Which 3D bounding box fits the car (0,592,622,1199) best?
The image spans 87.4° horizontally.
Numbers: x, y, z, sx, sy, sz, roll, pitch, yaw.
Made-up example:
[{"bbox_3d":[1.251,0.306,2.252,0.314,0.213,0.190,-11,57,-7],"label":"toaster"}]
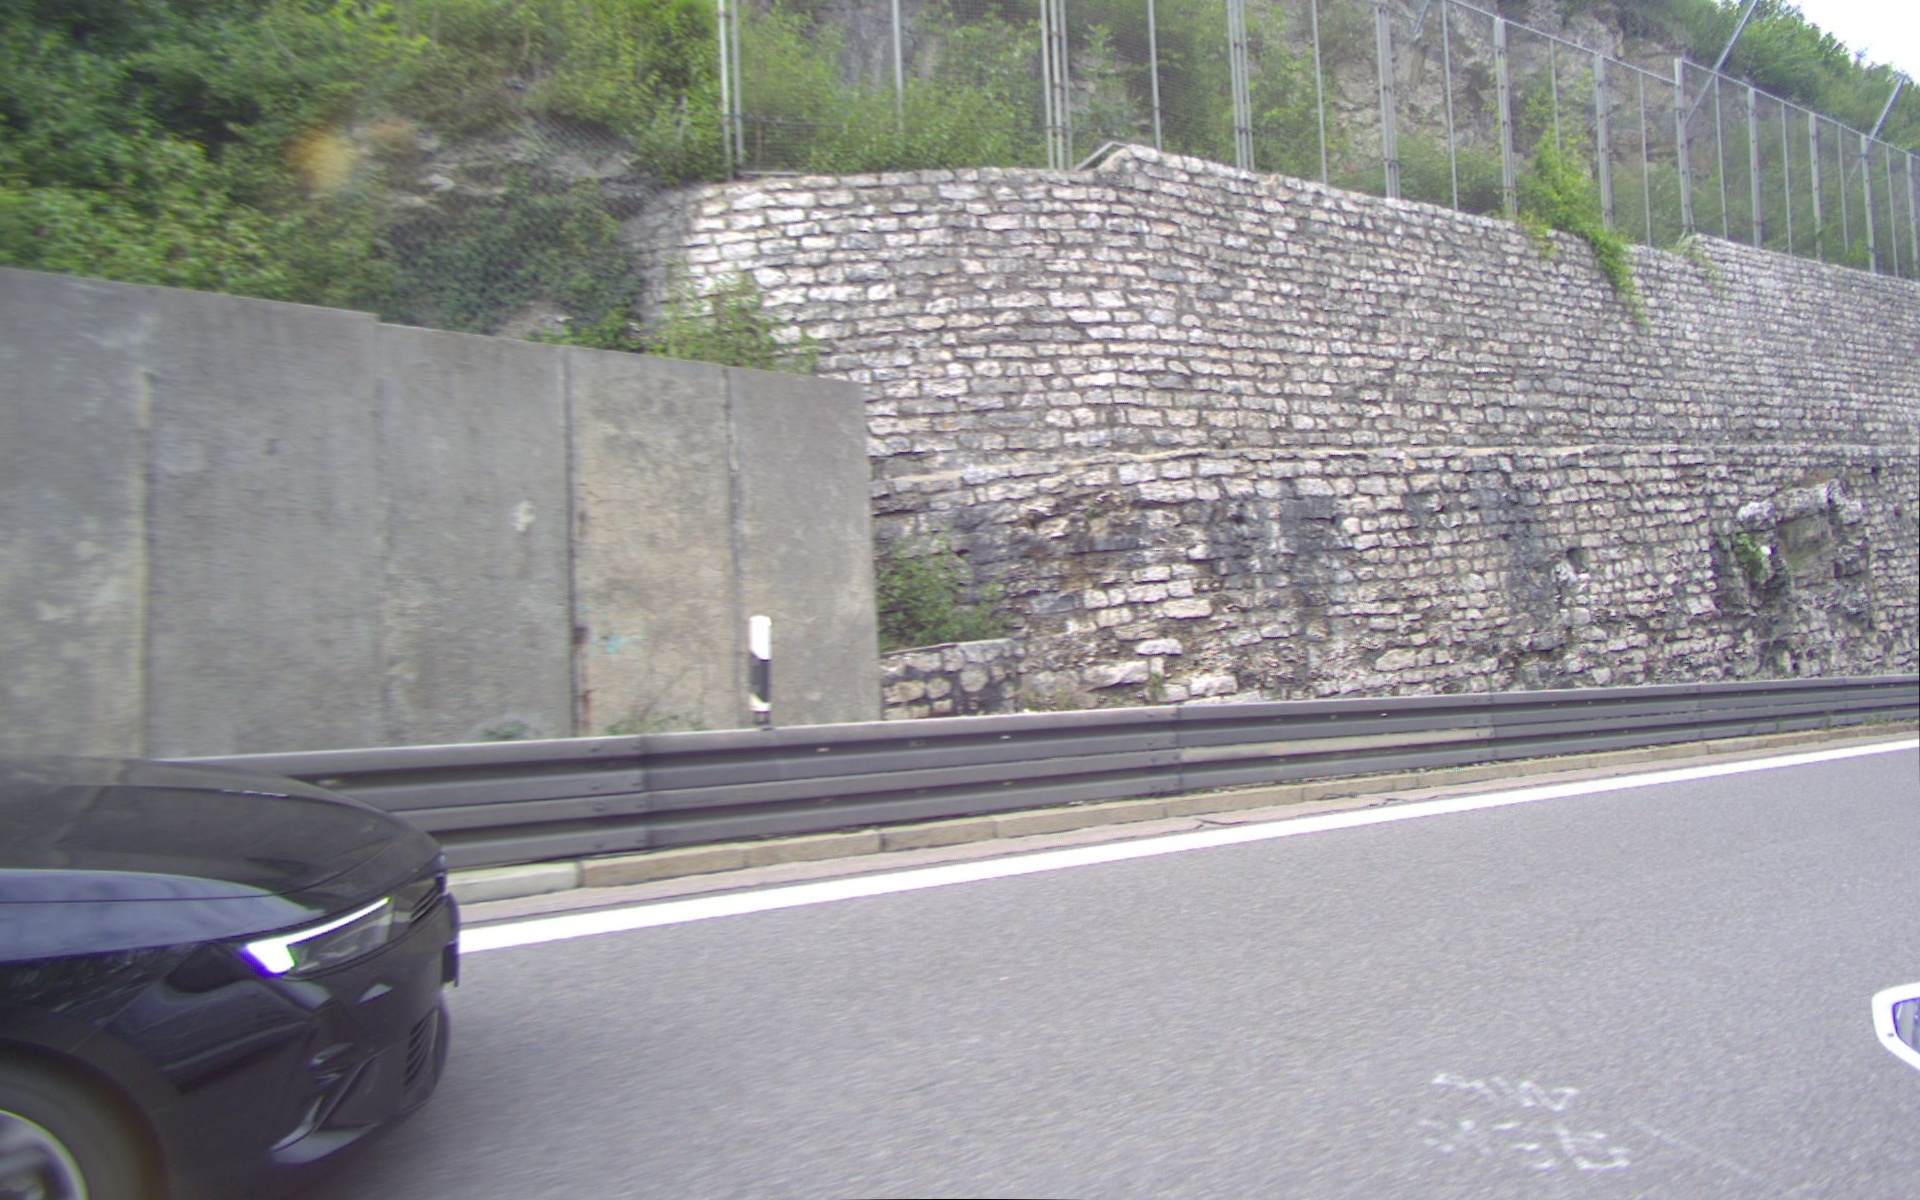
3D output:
[{"bbox_3d":[-3.171,0.710,1.939,4.526,1.480,1.765,1,0,-30],"label":"car"}]
